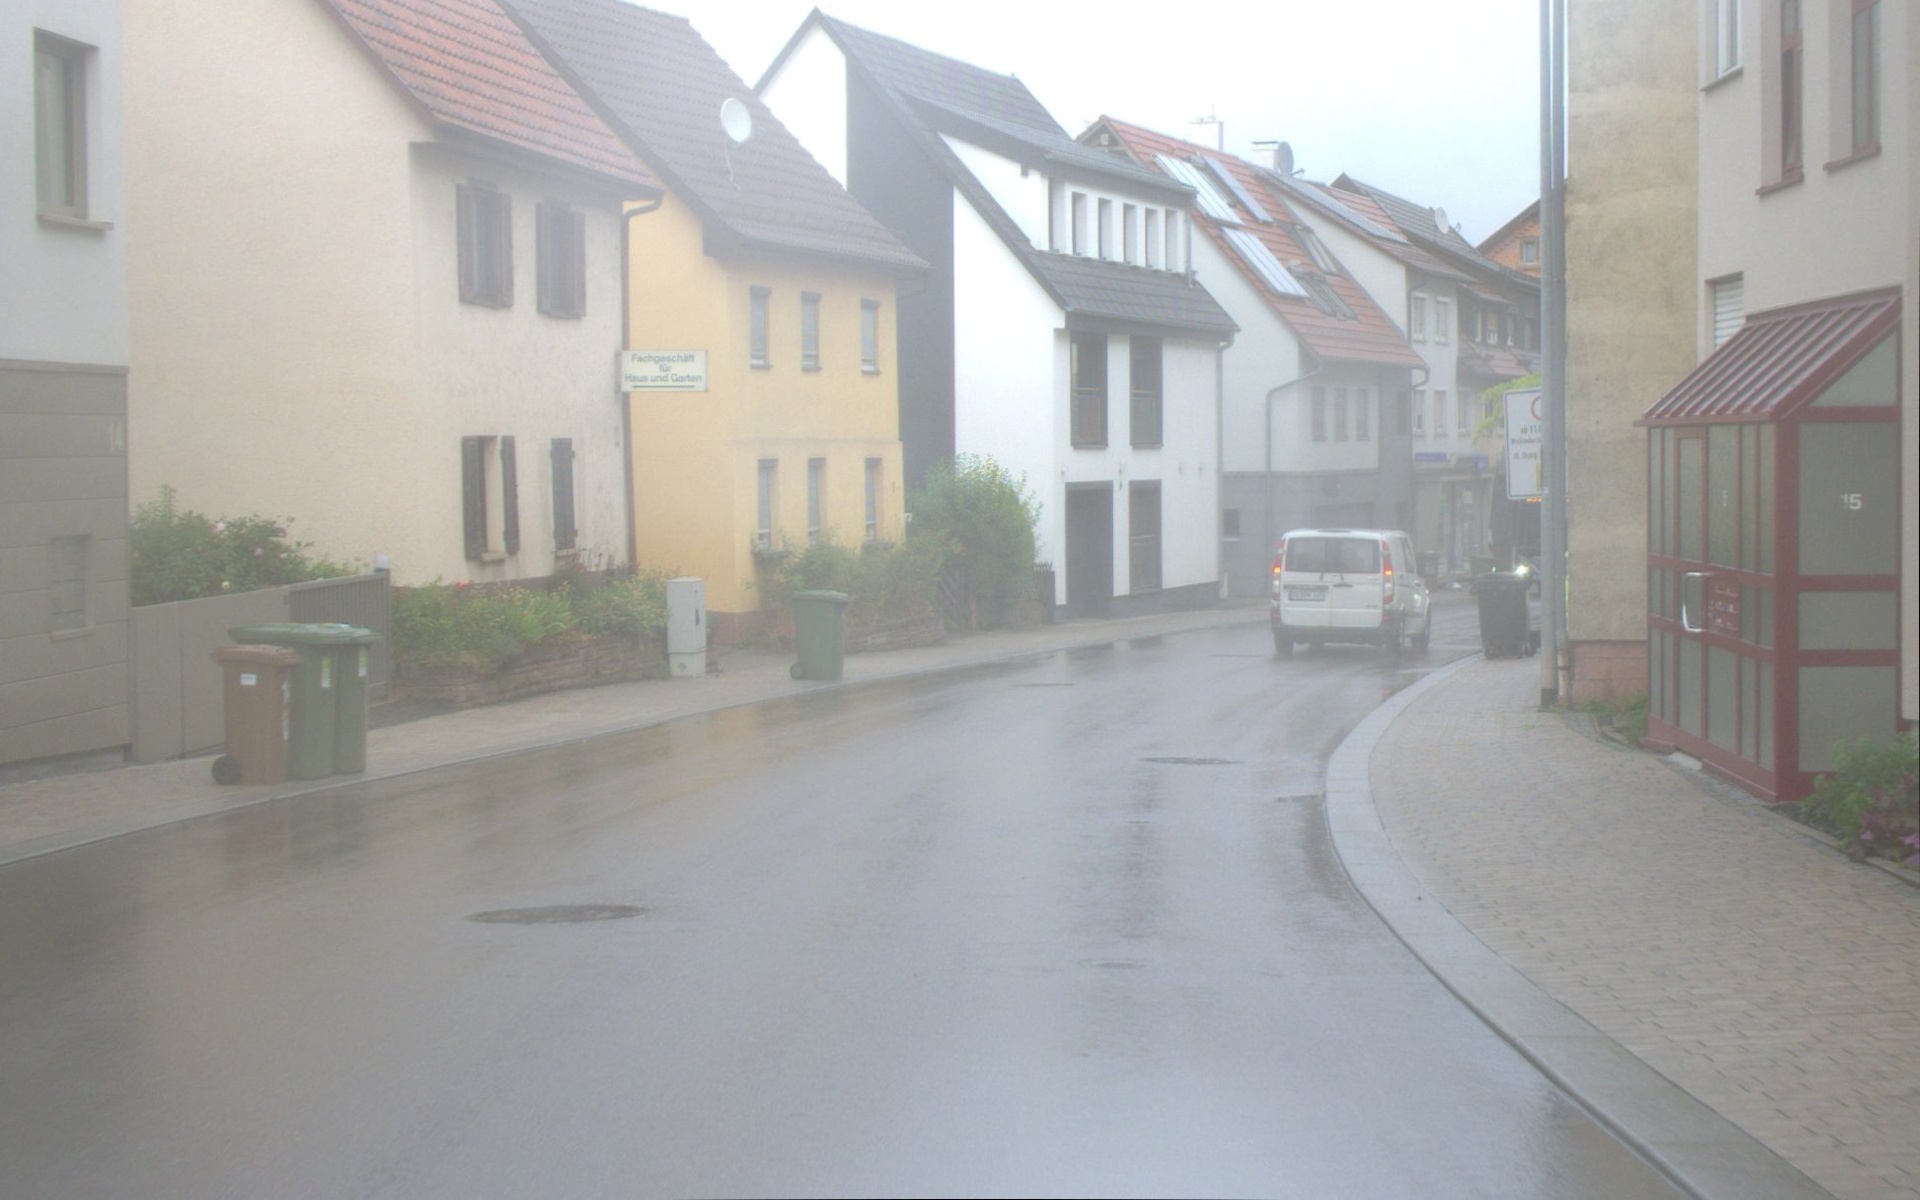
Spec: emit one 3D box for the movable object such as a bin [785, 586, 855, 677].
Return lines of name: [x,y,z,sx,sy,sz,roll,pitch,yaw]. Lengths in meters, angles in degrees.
movable object such as a bin: [-1.680,0.374,41.283,0.660,1.052,0.763,2,1,10]

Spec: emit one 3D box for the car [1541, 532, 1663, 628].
car: [10.692,-0.345,57.128,1.604,1.479,3.299,-2,1,16]

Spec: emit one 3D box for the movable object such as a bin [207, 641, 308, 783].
movable object such as a bin: [-4.748,0.751,23.246,0.506,0.919,0.579,1,1,6]

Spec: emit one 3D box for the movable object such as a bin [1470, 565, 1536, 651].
movable object such as a bin: [7.578,0.102,47.923,0.767,1.169,1.540,0,1,14]

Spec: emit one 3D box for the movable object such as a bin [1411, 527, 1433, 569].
movable object such as a bin: [12.392,-1.402,92.227,0.518,1.118,0.635,0,0,12]

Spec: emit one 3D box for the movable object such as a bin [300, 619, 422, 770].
movable object such as a bin: [-4.302,0.669,24.720,0.681,1.042,0.661,1,1,8]

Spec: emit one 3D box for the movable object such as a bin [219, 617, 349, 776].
movable object such as a bin: [-4.702,0.665,23.934,0.681,1.063,0.694,1,1,8]

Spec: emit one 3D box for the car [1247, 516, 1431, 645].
car: [5.735,-0.305,51.565,2.196,1.845,4.302,0,1,13]
